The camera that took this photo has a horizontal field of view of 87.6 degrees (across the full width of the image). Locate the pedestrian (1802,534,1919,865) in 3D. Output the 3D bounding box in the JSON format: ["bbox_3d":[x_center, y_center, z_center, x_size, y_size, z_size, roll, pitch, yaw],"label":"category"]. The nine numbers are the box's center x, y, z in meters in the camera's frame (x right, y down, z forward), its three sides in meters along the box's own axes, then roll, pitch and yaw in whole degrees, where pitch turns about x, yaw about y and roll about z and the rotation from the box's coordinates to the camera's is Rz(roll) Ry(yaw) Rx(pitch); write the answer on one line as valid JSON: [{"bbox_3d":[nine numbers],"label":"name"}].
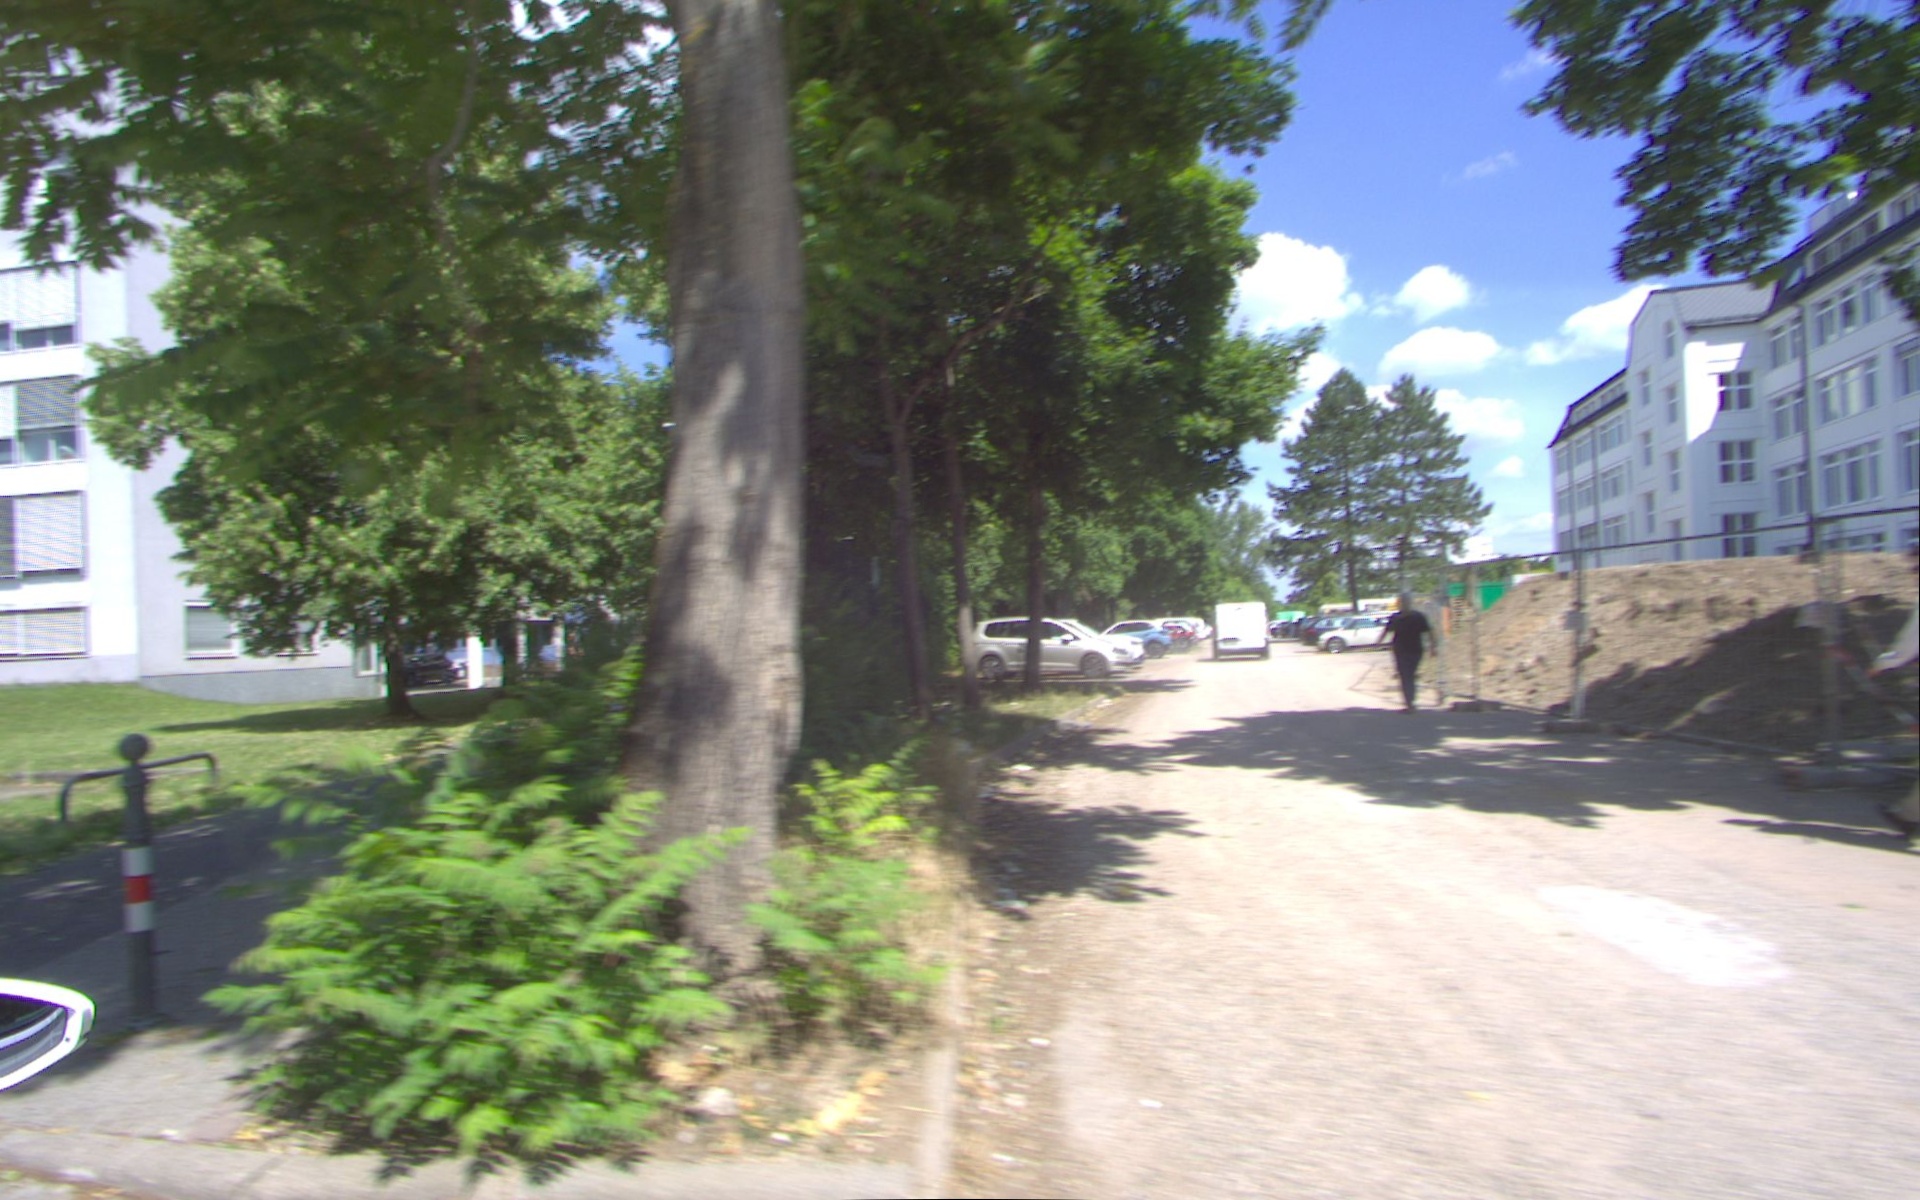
[{"bbox_3d":[5.522,0.521,5.526,0.860,1.752,1.080,-1,0,7],"label":"pedestrian"}]

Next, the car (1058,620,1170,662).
[{"bbox_3d":[6.415,1.703,41.637,4.438,1.618,1.723,-2,-1,16],"label":"car"}]

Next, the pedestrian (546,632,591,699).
[{"bbox_3d":[-9.456,1.564,24.200,0.727,1.584,0.750,-1,-1,6],"label":"pedestrian"}]

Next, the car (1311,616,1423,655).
[{"bbox_3d":[16.139,1.419,39.913,3.929,1.438,1.997,-2,-1,18],"label":"car"}]

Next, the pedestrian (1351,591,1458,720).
[{"bbox_3d":[6.019,0.737,13.640,1.018,1.671,1.049,-1,0,6],"label":"pedestrian"}]

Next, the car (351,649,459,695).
[{"bbox_3d":[-21.951,2.824,39.720,1.643,1.641,3.625,-2,-1,16],"label":"car"}]

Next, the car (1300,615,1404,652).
[{"bbox_3d":[16.534,1.415,42.469,3.929,1.438,1.997,-2,-1,18],"label":"car"}]

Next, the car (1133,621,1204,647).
[{"bbox_3d":[13.862,2.246,66.561,4.438,1.567,1.723,-2,-1,16],"label":"car"}]

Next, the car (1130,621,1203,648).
[{"bbox_3d":[13.232,2.224,64.189,4.438,1.618,1.723,-2,-1,16],"label":"car"}]

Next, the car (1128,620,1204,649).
[{"bbox_3d":[12.684,2.123,61.524,4.438,1.618,1.723,-2,-1,16],"label":"car"}]

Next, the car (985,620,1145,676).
[{"bbox_3d":[3.109,1.413,29.494,4.438,1.551,1.724,-2,-1,16],"label":"car"}]

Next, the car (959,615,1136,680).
[{"bbox_3d":[2.383,1.324,27.070,4.439,1.629,1.999,-2,-3,17],"label":"car"}]

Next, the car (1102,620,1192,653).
[{"bbox_3d":[9.702,1.899,52.013,4.438,1.618,1.723,-2,-1,16],"label":"car"}]

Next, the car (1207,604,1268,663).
[{"bbox_3d":[10.030,1.196,36.367,1.943,1.972,4.577,-2,-1,15],"label":"car"}]

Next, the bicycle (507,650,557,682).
[{"bbox_3d":[-15.562,2.393,36.444,0.590,1.098,1.938,-1,-1,14],"label":"bicycle"}]

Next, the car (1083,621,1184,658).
[{"bbox_3d":[8.182,1.860,47.149,4.439,1.618,1.934,-2,-1,17],"label":"car"}]

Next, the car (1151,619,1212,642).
[{"bbox_3d":[16.900,2.321,76.251,4.438,1.618,1.724,-2,-1,16],"label":"car"}]
